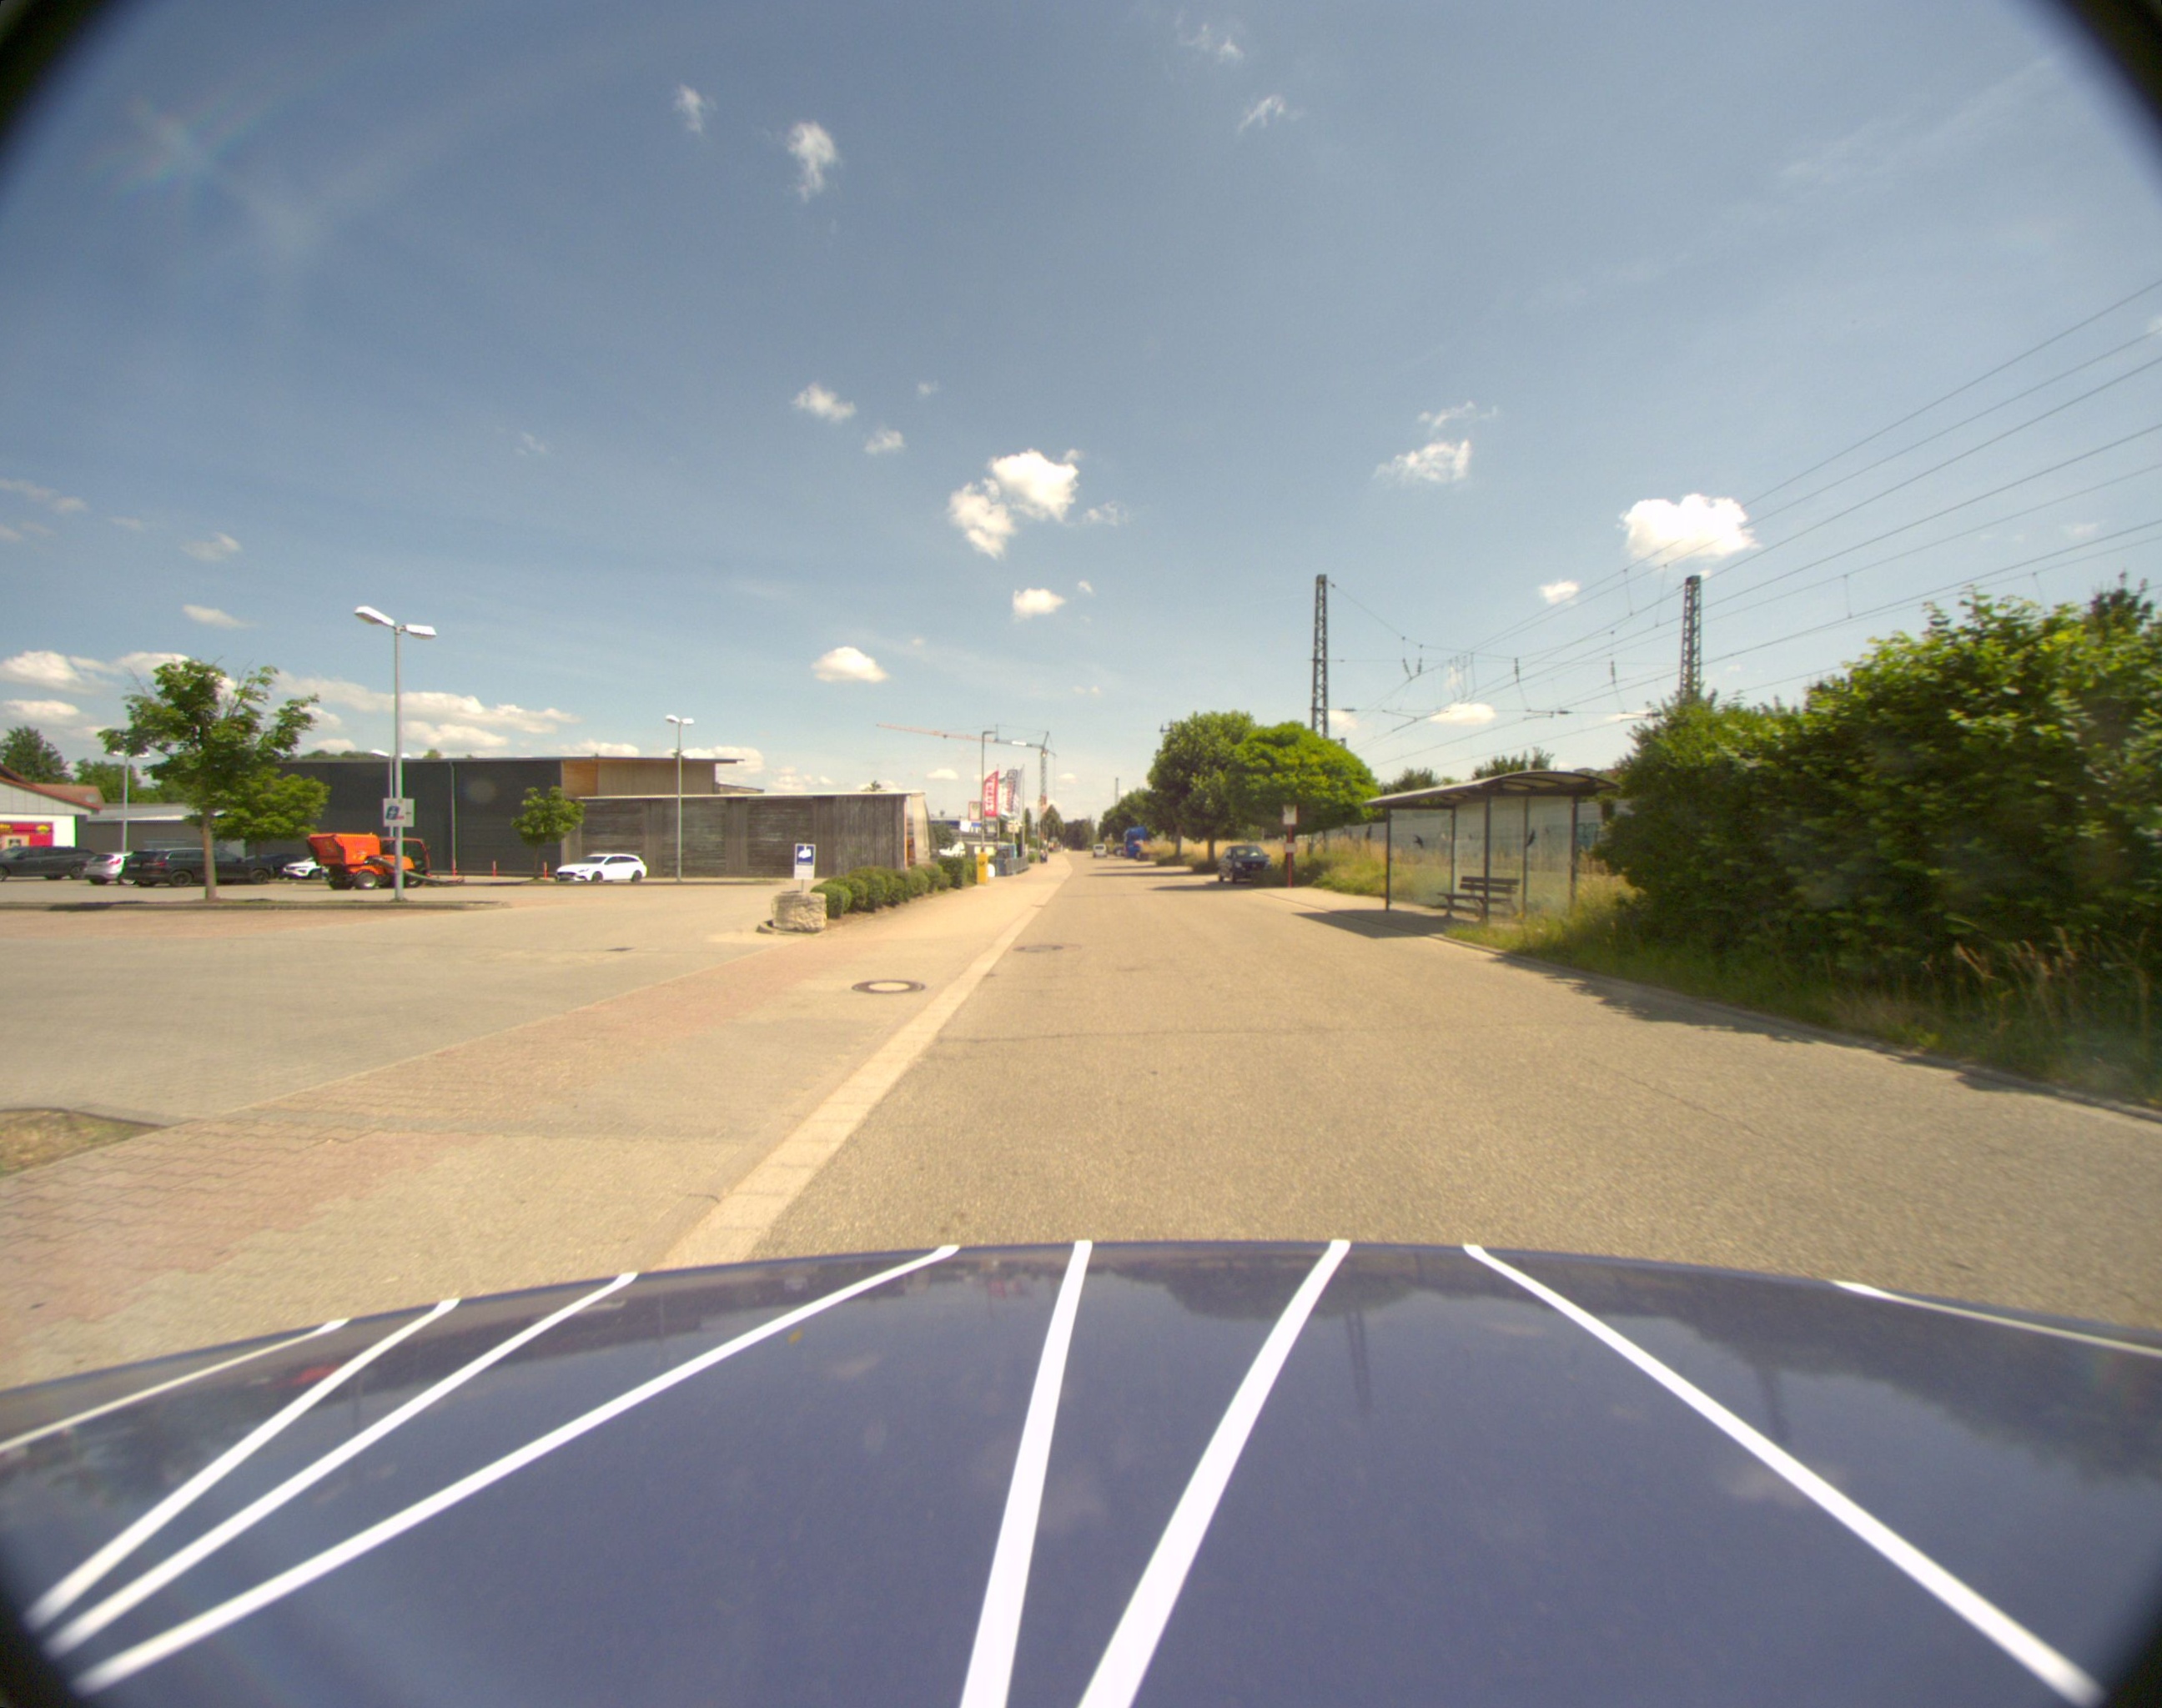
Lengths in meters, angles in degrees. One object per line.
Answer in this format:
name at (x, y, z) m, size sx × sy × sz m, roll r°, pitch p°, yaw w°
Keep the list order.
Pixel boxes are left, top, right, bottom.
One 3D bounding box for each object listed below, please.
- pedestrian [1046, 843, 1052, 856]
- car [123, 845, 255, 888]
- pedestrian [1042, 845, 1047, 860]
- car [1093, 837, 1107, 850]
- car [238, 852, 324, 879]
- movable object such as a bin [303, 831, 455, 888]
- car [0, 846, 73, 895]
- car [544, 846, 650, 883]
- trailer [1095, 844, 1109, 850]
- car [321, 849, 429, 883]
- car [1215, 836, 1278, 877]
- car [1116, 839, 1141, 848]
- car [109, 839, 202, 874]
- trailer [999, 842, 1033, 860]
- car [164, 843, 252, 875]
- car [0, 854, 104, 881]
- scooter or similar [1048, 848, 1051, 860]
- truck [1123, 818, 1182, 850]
pedestrian at (-3.402, -0.499, 80.252) m, size 0.595 × 1.398 × 0.583 m, roll 0°, pitch 4°, yaw -3°
car at (-38.800, 0.485, 33.157) m, size 1.508 × 1.604 × 3.342 m, roll 1°, pitch 3°, yaw 13°
pedestrian at (-3.702, -0.134, 77.373) m, size 0.536 × 1.532 × 0.510 m, roll 0°, pitch 6°, yaw -2°
car at (2.812, -1.512, 111.382) m, size 1.843 × 1.847 × 4.482 m, roll -1°, pitch 1°, yaw 0°
car at (-41.015, 0.568, 39.025) m, size 1.498 × 1.301 × 2.806 m, roll -1°, pitch 1°, yaw -4°
movable object such as a bin at (-29.238, 0.198, 31.881) m, size 1.682 × 2.192 × 4.525 m, roll 1°, pitch 1°, yaw 13°
car at (-36.762, 0.570, 24.983) m, size 1.582 × 1.621 × 4.004 m, roll 0°, pitch 1°, yaw 16°
car at (-23.563, 0.486, 37.214) m, size 1.997 × 1.652 × 4.440 m, roll 0°, pitch 0°, yaw 7°
trailer at (2.887, -0.964, 106.964) m, size 1.823 × 0.845 × 4.221 m, roll 1°, pitch 0°, yaw -1°
car at (-36.025, 0.578, 38.903) m, size 1.583 × 1.565 × 4.000 m, roll 0°, pitch 1°, yaw 4°
car at (6.800, 0.059, 31.595) m, size 1.746 × 1.587 × 3.578 m, roll -1°, pitch 1°, yaw -1°
car at (7.617, -1.740, 122.144) m, size 3.954 × 1.442 × 1.787 m, roll 0°, pitch 2°, yaw 3°
car at (-47.483, 0.088, 39.039) m, size 1.296 × 1.678 × 2.707 m, roll 1°, pitch 2°, yaw 12°
trailer at (-7.957, -0.354, 93.037) m, size 3.998 × 2.000 × 2.002 m, roll -2°, pitch -6°, yaw -2°
car at (-43.998, 0.215, 38.344) m, size 1.224 × 1.558 × 2.673 m, roll 1°, pitch 1°, yaw 6°
car at (-48.770, 0.619, 35.291) m, size 1.611 × 1.166 × 3.793 m, roll 1°, pitch 1°, yaw 15°
scooter or similar at (-3.223, -0.004, 77.304) m, size 0.334 × 1.191 × 0.397 m, roll 1°, pitch 4°, yaw -1°
truck at (8.476, -2.371, 90.641) m, size 6.633 × 3.801 × 2.662 m, roll 0°, pitch 1°, yaw -4°
